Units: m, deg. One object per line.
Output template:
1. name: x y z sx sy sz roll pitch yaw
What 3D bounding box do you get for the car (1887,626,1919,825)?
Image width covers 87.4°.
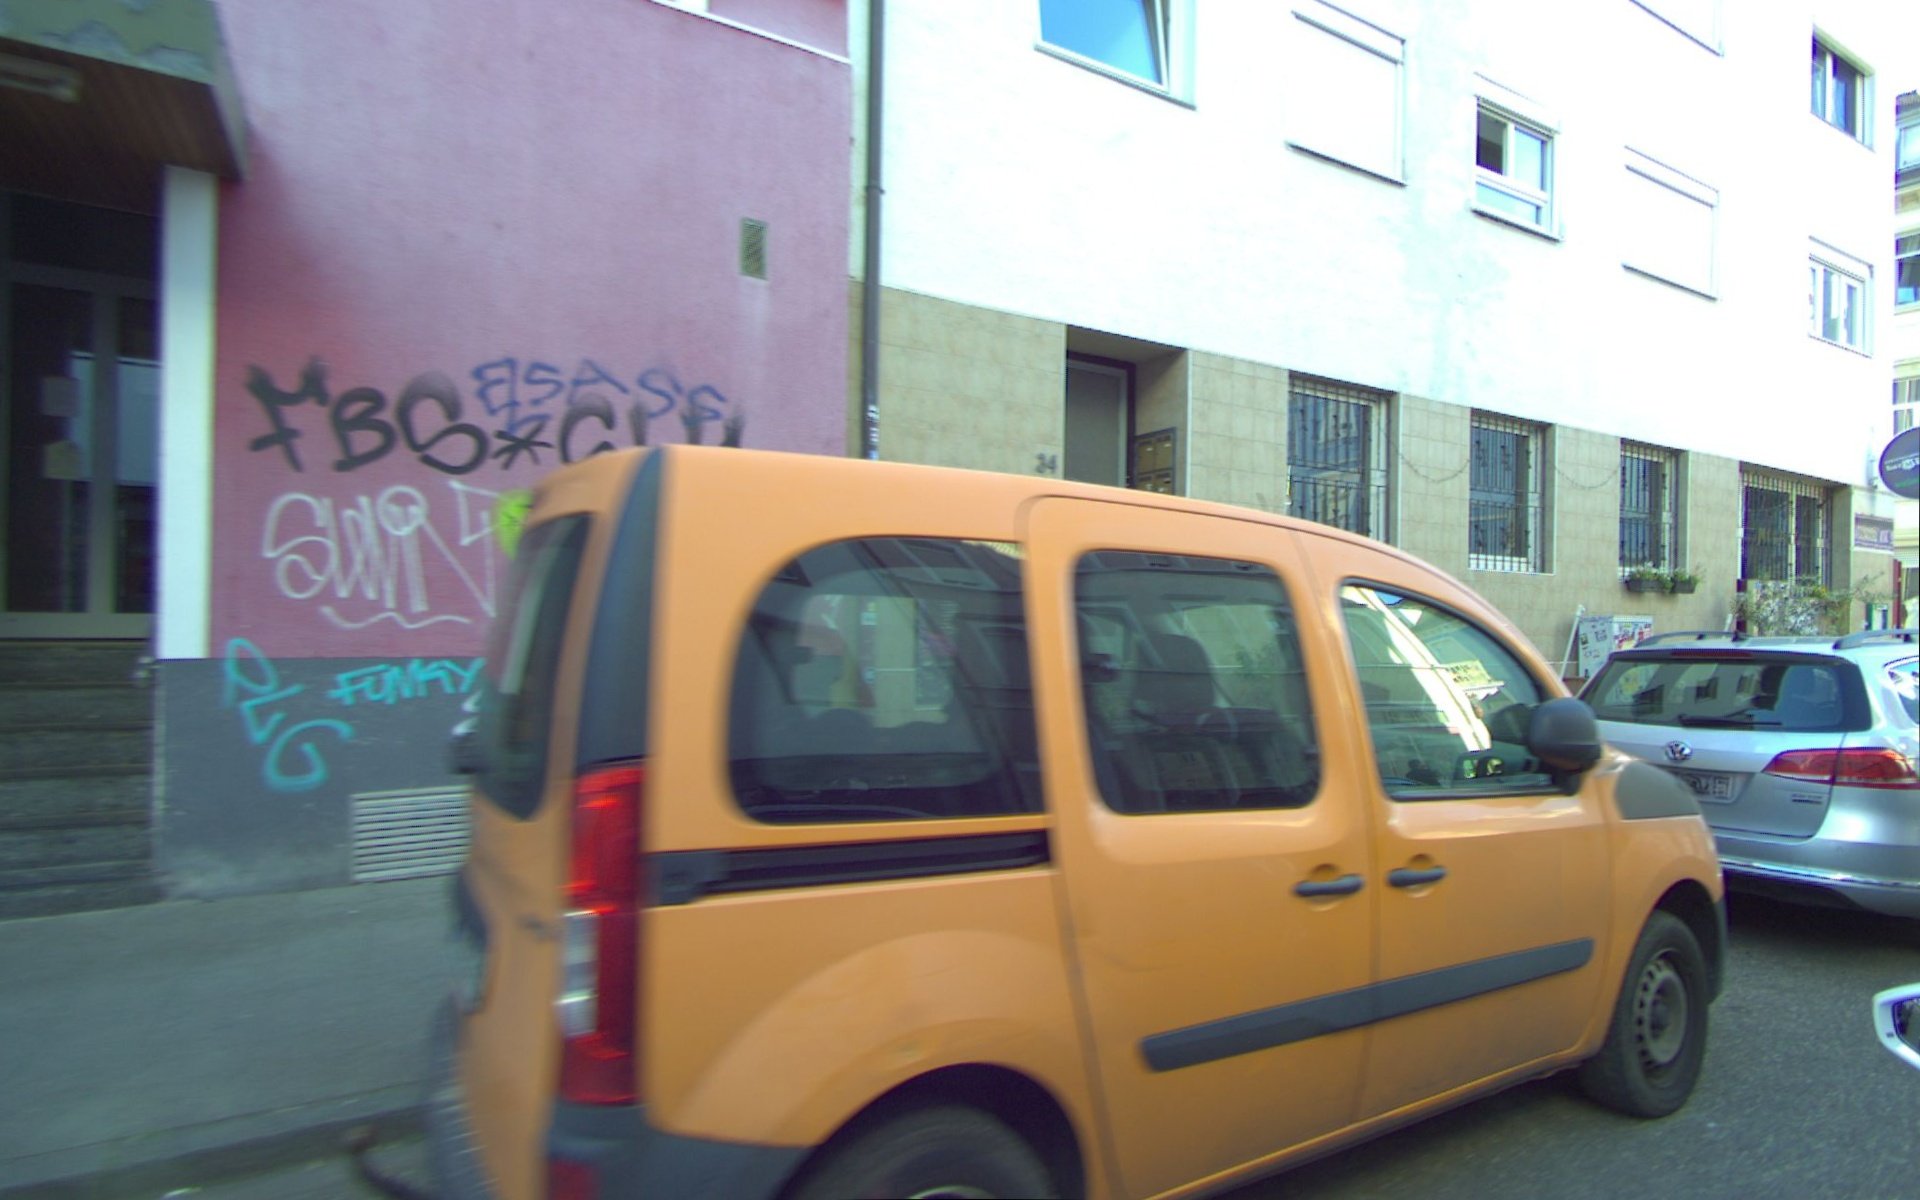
1. car: 9.386 1.032 8.254 3.592 1.557 1.645 2 -2 -31

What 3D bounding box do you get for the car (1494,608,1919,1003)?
1. car: 5.189 0.904 5.831 4.269 1.557 1.742 2 -2 -31

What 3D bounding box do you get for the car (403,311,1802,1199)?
1. car: 0.646 0.647 3.079 4.032 1.840 1.744 2 -3 -31
